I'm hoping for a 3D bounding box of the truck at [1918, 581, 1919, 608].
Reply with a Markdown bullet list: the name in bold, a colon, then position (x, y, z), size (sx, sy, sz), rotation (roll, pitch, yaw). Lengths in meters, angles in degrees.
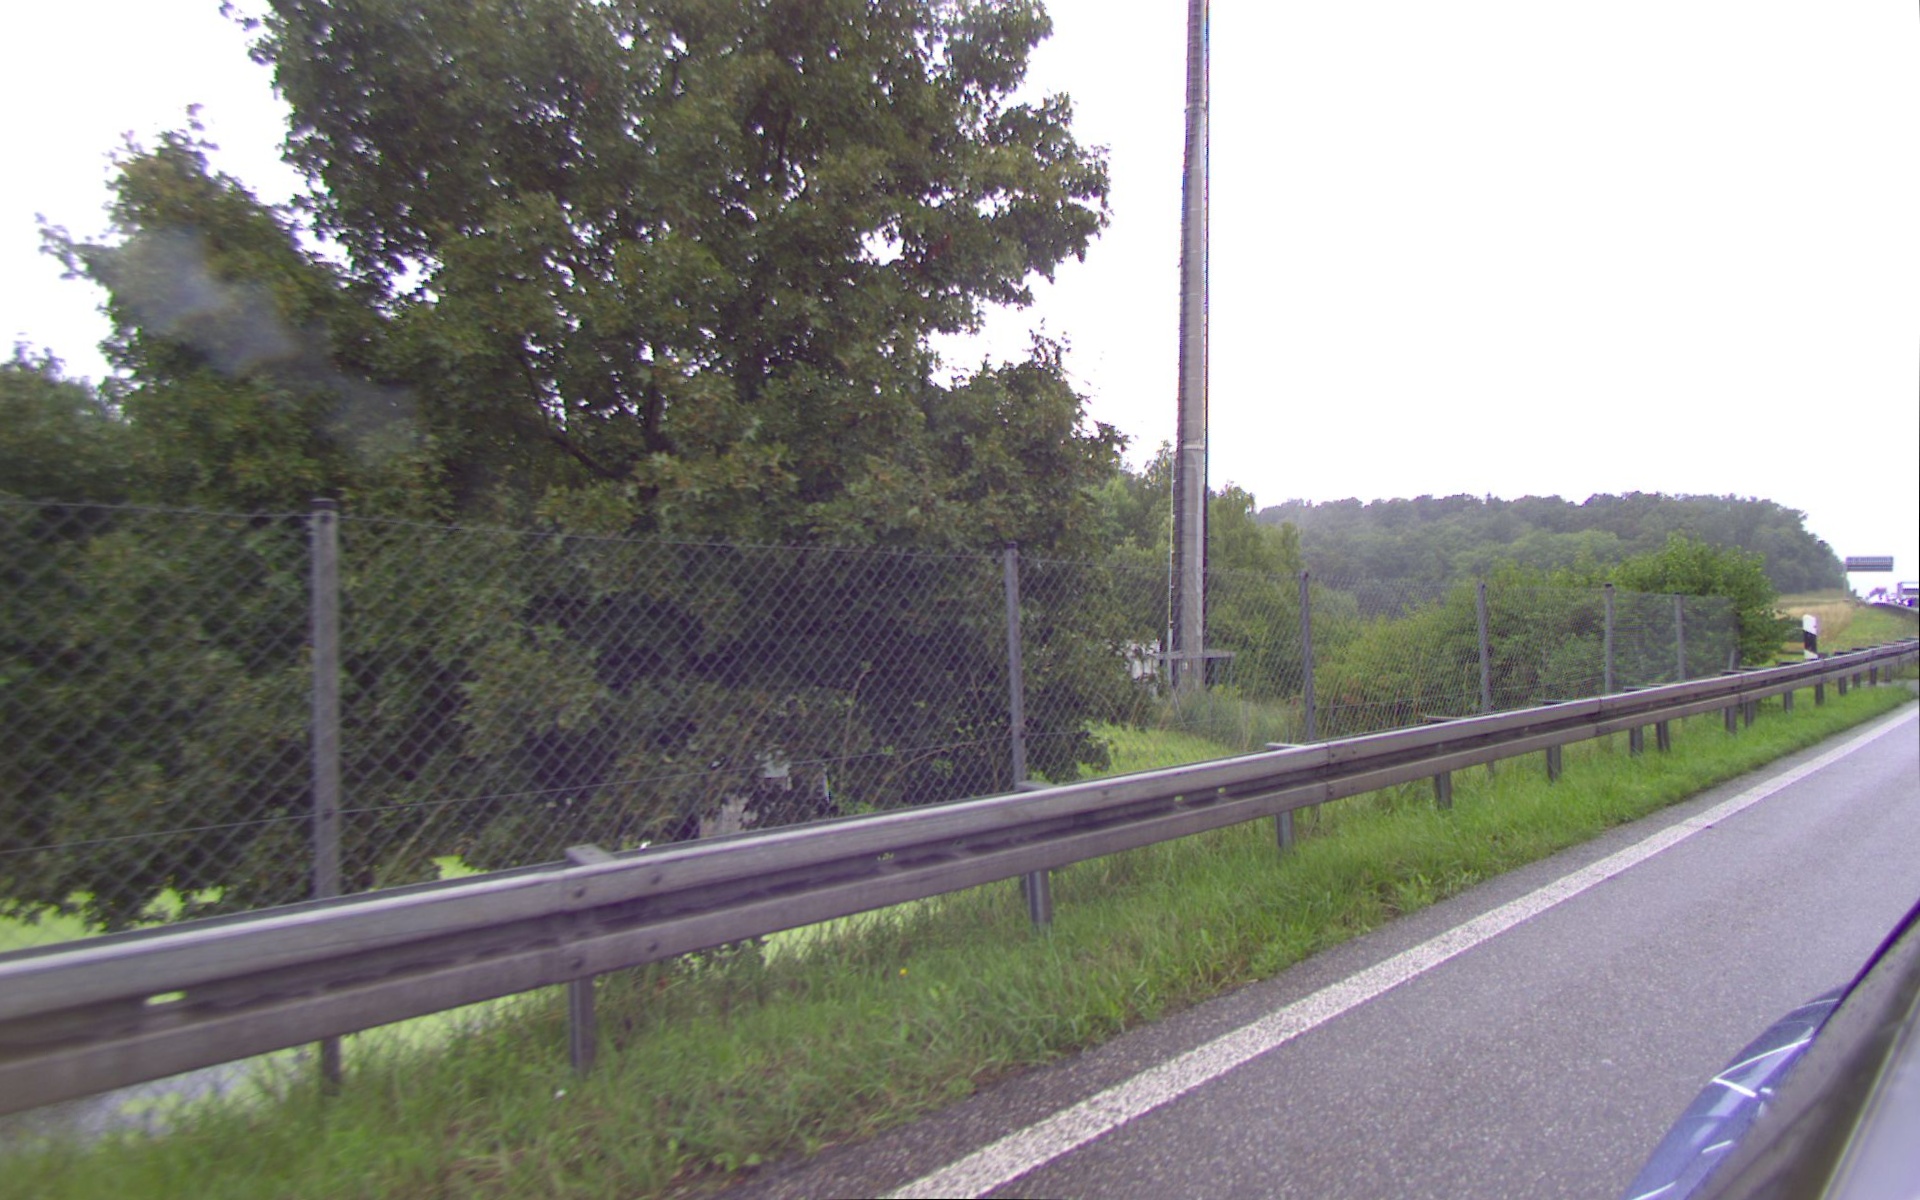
- **truck**: position (154.802, -0.898, 161.415), size (5.143, 4.198, 2.592), rotation (1, -2, -44)
